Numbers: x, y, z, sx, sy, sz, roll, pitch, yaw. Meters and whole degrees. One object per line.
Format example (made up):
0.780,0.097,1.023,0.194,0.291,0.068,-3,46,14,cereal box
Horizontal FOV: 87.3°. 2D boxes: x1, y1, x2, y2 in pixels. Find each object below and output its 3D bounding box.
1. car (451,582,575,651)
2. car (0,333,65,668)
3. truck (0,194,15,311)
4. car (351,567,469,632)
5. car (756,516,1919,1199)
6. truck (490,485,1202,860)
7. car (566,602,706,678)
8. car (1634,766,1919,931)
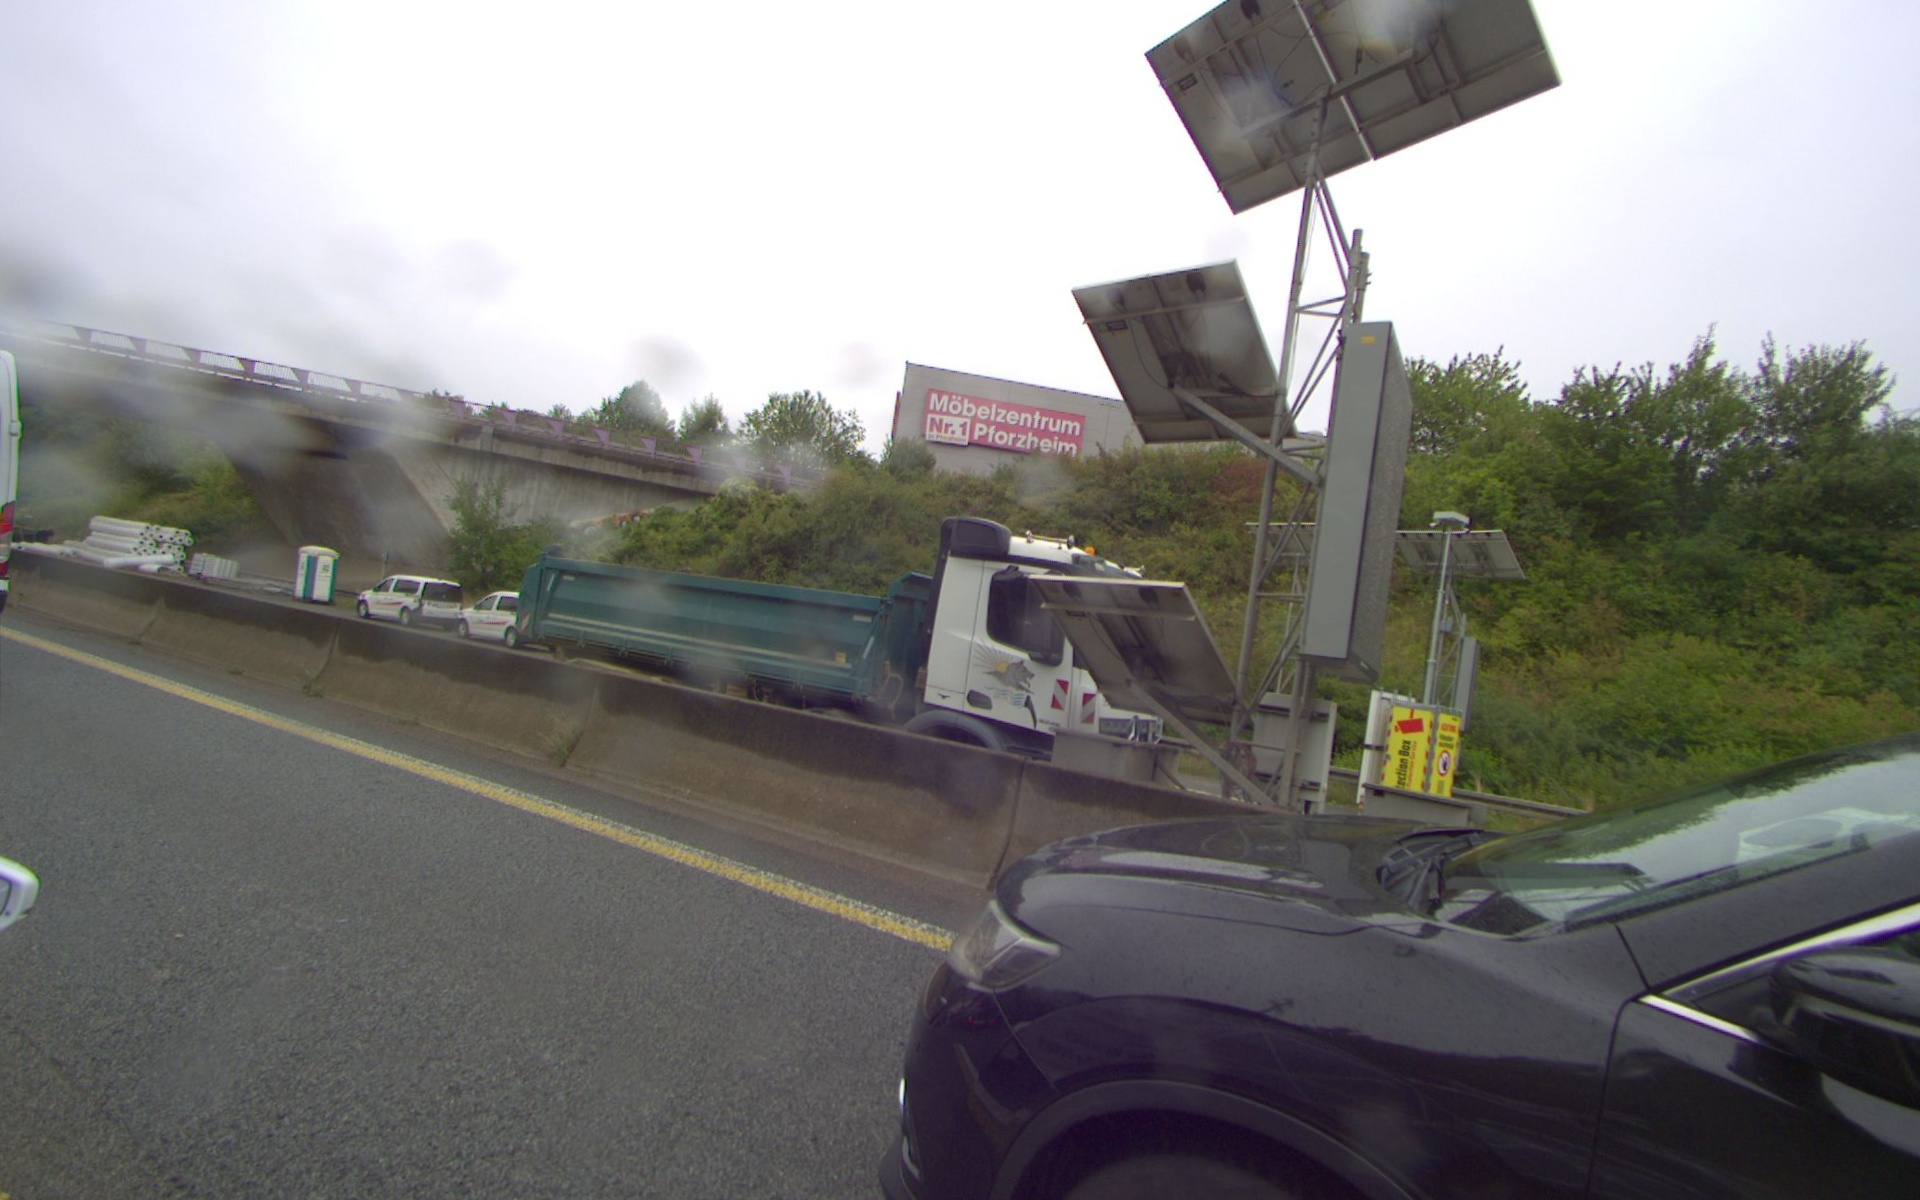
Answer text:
-14.957,0.537,33.639,4.057,1.765,1.731,6,-2,34,car
-10.796,-1.155,9.109,6.015,2.707,2.148,6,-1,31,car
-24.023,-4.289,18.645,20.038,5.739,3.987,6,-1,32,truck
-20.174,-0.037,36.874,4.088,1.830,1.851,6,-2,32,car
2.075,0.982,1.652,4.563,1.694,1.894,6,-2,30,car
-1.871,0.522,12.688,8.967,3.168,2.525,6,-1,31,truck
-9.900,1.199,30.666,4.056,1.745,1.732,6,-2,33,car
13.632,3.985,16.338,4.196,1.778,1.732,6,-2,30,car
